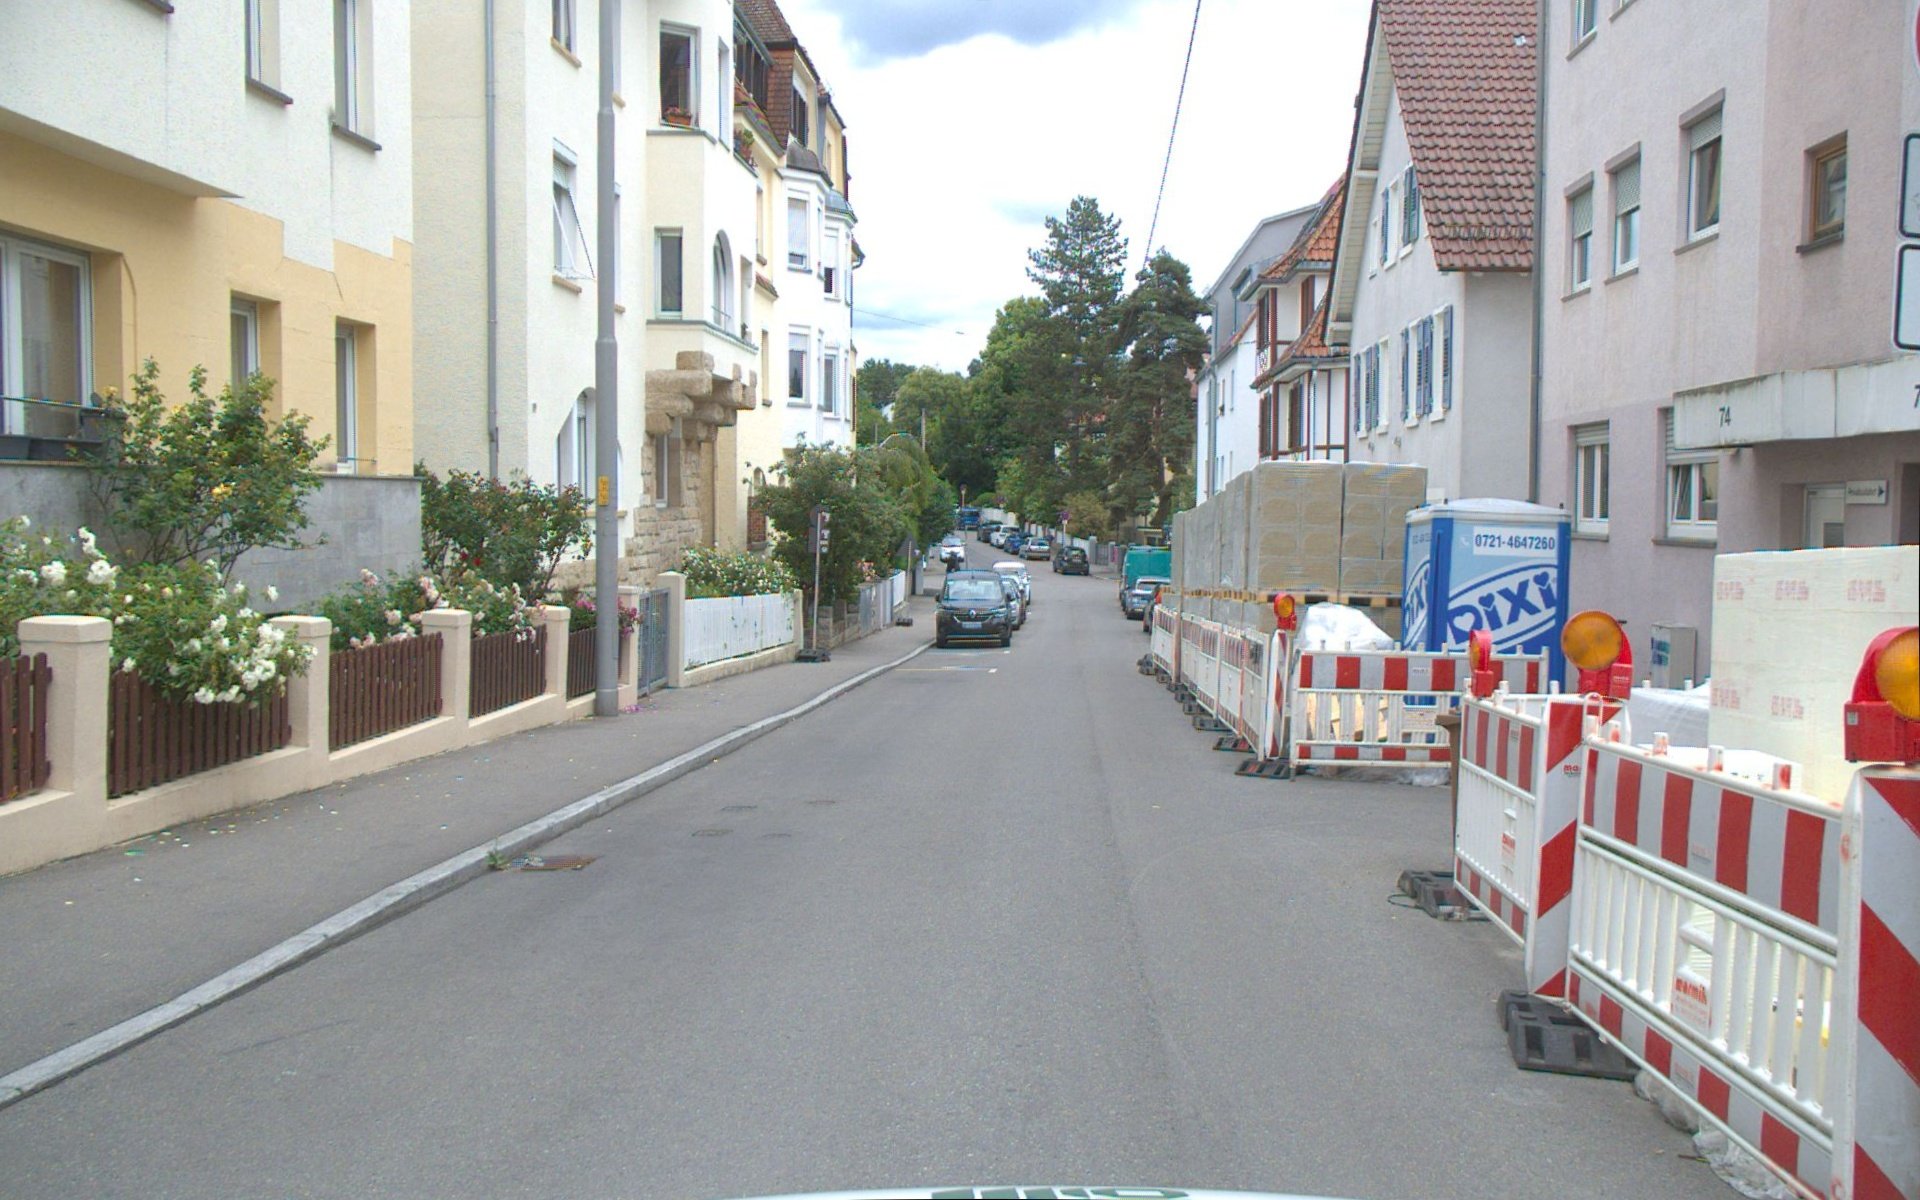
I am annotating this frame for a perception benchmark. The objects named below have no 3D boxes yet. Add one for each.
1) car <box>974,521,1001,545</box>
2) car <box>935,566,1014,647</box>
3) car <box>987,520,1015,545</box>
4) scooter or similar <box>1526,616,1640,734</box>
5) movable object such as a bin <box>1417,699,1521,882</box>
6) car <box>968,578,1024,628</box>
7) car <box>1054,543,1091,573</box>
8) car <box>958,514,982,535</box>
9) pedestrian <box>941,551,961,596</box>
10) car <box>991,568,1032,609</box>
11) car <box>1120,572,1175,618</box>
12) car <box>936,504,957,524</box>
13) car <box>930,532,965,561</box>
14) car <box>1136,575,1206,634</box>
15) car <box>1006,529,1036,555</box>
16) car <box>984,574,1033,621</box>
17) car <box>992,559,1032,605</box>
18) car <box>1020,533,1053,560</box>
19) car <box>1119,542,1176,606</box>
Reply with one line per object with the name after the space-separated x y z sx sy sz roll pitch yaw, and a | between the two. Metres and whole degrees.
2.047 -5.059 124.248 1.602 1.563 3.528 1 5 -6 | car
0.364 0.109 40.567 1.807 1.847 4.545 -1 1 0 | car
2.915 -4.830 118.343 1.602 1.563 3.528 1 5 -6 | car
6.819 0.792 18.191 0.628 1.176 1.767 0 1 2 | scooter or similar
2.733 1.011 8.888 0.393 0.908 0.361 3 1 41 | movable object such as a bin
1.134 0.060 50.769 1.608 1.441 3.985 -1 1 2 | car
6.465 -2.442 95.601 1.602 1.509 3.529 1 5 -4 | car
0.831 -6.362 138.824 1.602 1.563 3.528 1 5 -6 | car
-0.395 -1.193 73.305 0.774 1.966 0.920 1 1 6 | pedestrian
2.042 -0.478 65.270 1.563 1.437 3.665 -1 3 2 | car
6.644 -0.204 58.954 1.689 1.473 3.883 0 2 2 | car
-1.207 -7.767 149.107 1.602 1.563 3.528 1 5 -6 | car
-0.796 -3.449 105.371 1.642 1.685 3.856 -2 4 -9 | car
6.045 0.096 47.640 1.654 1.546 3.882 1 1 2 | car
4.132 -3.965 112.283 1.602 1.509 3.528 1 5 -6 | car
1.664 -0.105 56.048 1.563 1.503 3.993 -1 1 2 | car
2.197 -0.789 69.368 1.637 1.685 3.866 -1 4 2 | car
4.975 -3.499 107.566 1.602 1.509 3.528 1 5 -6 | car
7.359 -1.077 65.303 1.939 2.403 4.279 0 2 2 | car
